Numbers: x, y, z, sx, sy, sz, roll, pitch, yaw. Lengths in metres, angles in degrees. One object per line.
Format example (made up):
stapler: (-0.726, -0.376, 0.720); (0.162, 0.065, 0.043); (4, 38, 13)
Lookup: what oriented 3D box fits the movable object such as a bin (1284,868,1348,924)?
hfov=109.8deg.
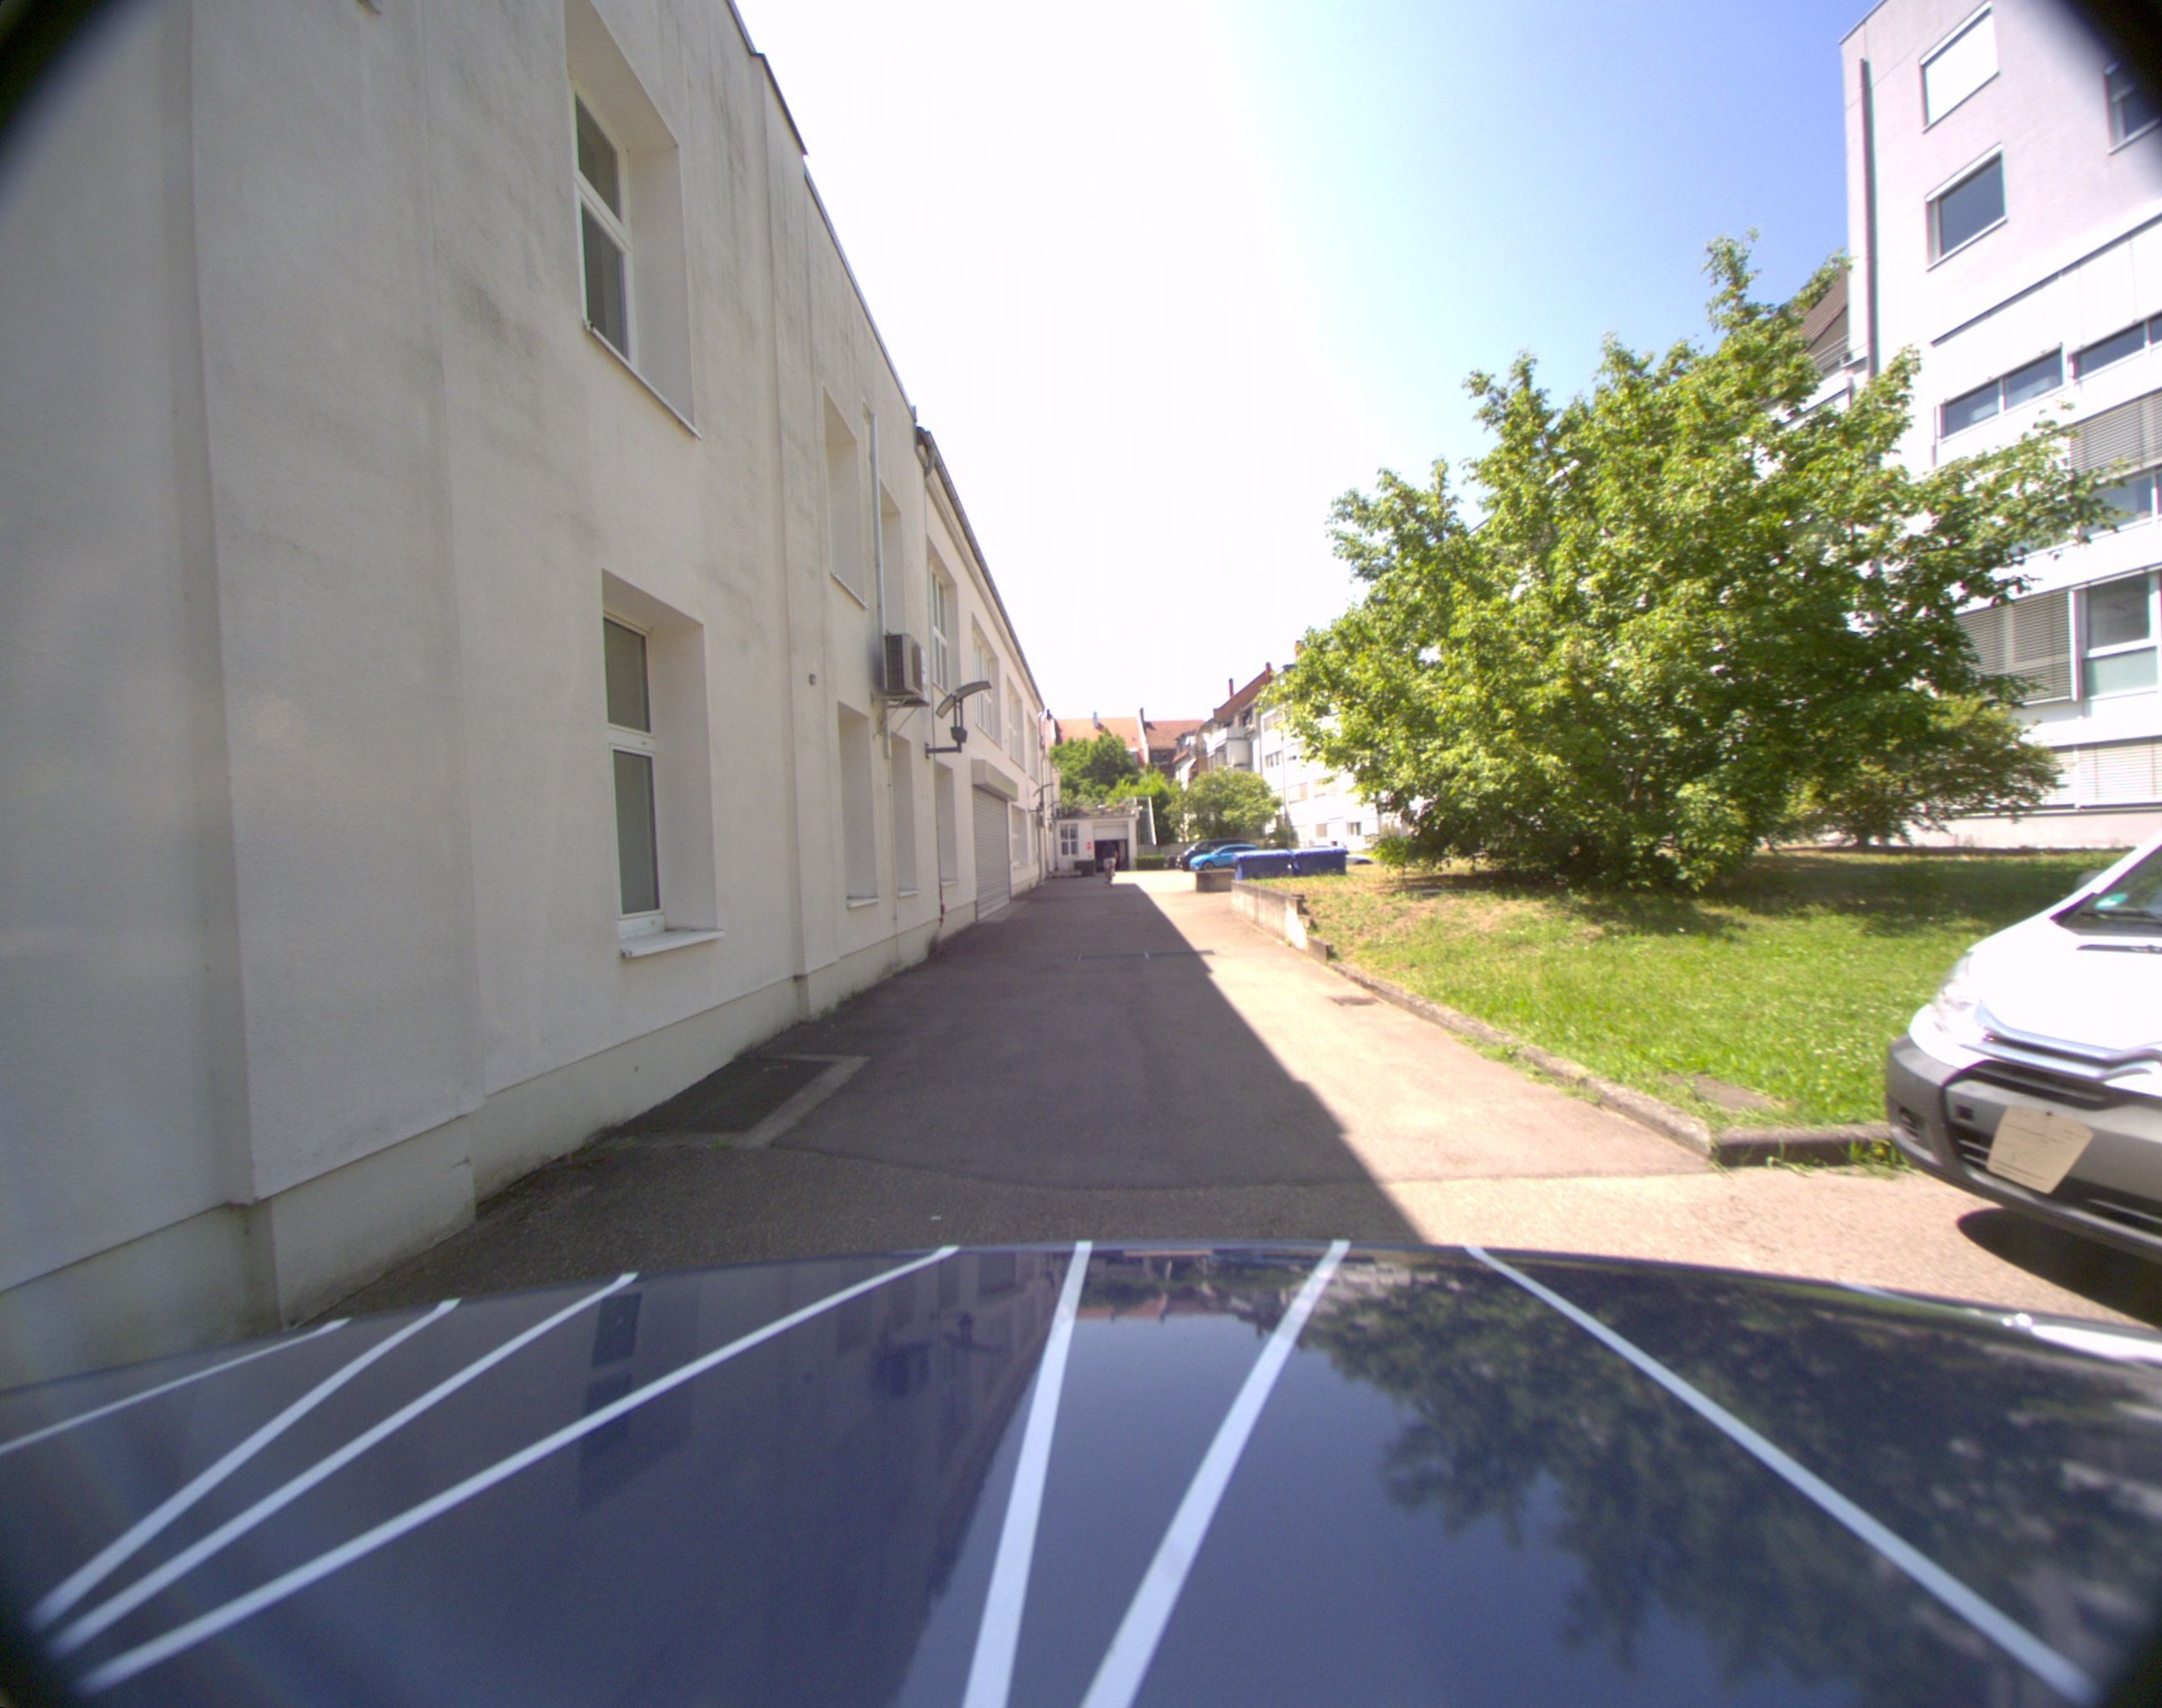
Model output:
movable object such as a bin: (5.967, 1.051, 19.390); (1.257, 1.320, 1.104); (-3, 1, 2)

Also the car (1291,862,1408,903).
car: (10.528, 1.101, 29.934); (3.998, 1.428, 1.711); (-2, 1, -2)

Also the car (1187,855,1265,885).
car: (8.576, 0.928, 45.168); (4.168, 1.544, 1.859); (-2, 1, -3)

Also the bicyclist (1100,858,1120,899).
bicyclist: (1.161, 0.997, 30.946); (0.724, 1.600, 0.978); (-3, 1, 1)

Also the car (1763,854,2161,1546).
car: (5.367, 0.900, 2.338); (4.802, 1.899, 2.000); (-2, -1, -3)

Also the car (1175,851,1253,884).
car: (8.345, 0.826, 47.838); (4.448, 1.821, 1.999); (-3, 1, -1)

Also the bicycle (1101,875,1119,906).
bicycle: (1.186, 1.469, 31.024); (0.645, 1.167, 1.904); (-3, 1, 1)

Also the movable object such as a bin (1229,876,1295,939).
movable object such as a bin: (4.173, 1.216, 17.617); (1.257, 1.320, 1.104); (-3, 1, 2)

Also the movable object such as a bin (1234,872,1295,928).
movable object such as a bin: (4.657, 1.155, 19.384); (1.257, 1.320, 1.104); (-3, 1, 2)

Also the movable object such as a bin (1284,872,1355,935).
movable object such as a bin: (5.493, 1.123, 17.592); (1.257, 1.320, 1.104); (-3, 1, 2)
